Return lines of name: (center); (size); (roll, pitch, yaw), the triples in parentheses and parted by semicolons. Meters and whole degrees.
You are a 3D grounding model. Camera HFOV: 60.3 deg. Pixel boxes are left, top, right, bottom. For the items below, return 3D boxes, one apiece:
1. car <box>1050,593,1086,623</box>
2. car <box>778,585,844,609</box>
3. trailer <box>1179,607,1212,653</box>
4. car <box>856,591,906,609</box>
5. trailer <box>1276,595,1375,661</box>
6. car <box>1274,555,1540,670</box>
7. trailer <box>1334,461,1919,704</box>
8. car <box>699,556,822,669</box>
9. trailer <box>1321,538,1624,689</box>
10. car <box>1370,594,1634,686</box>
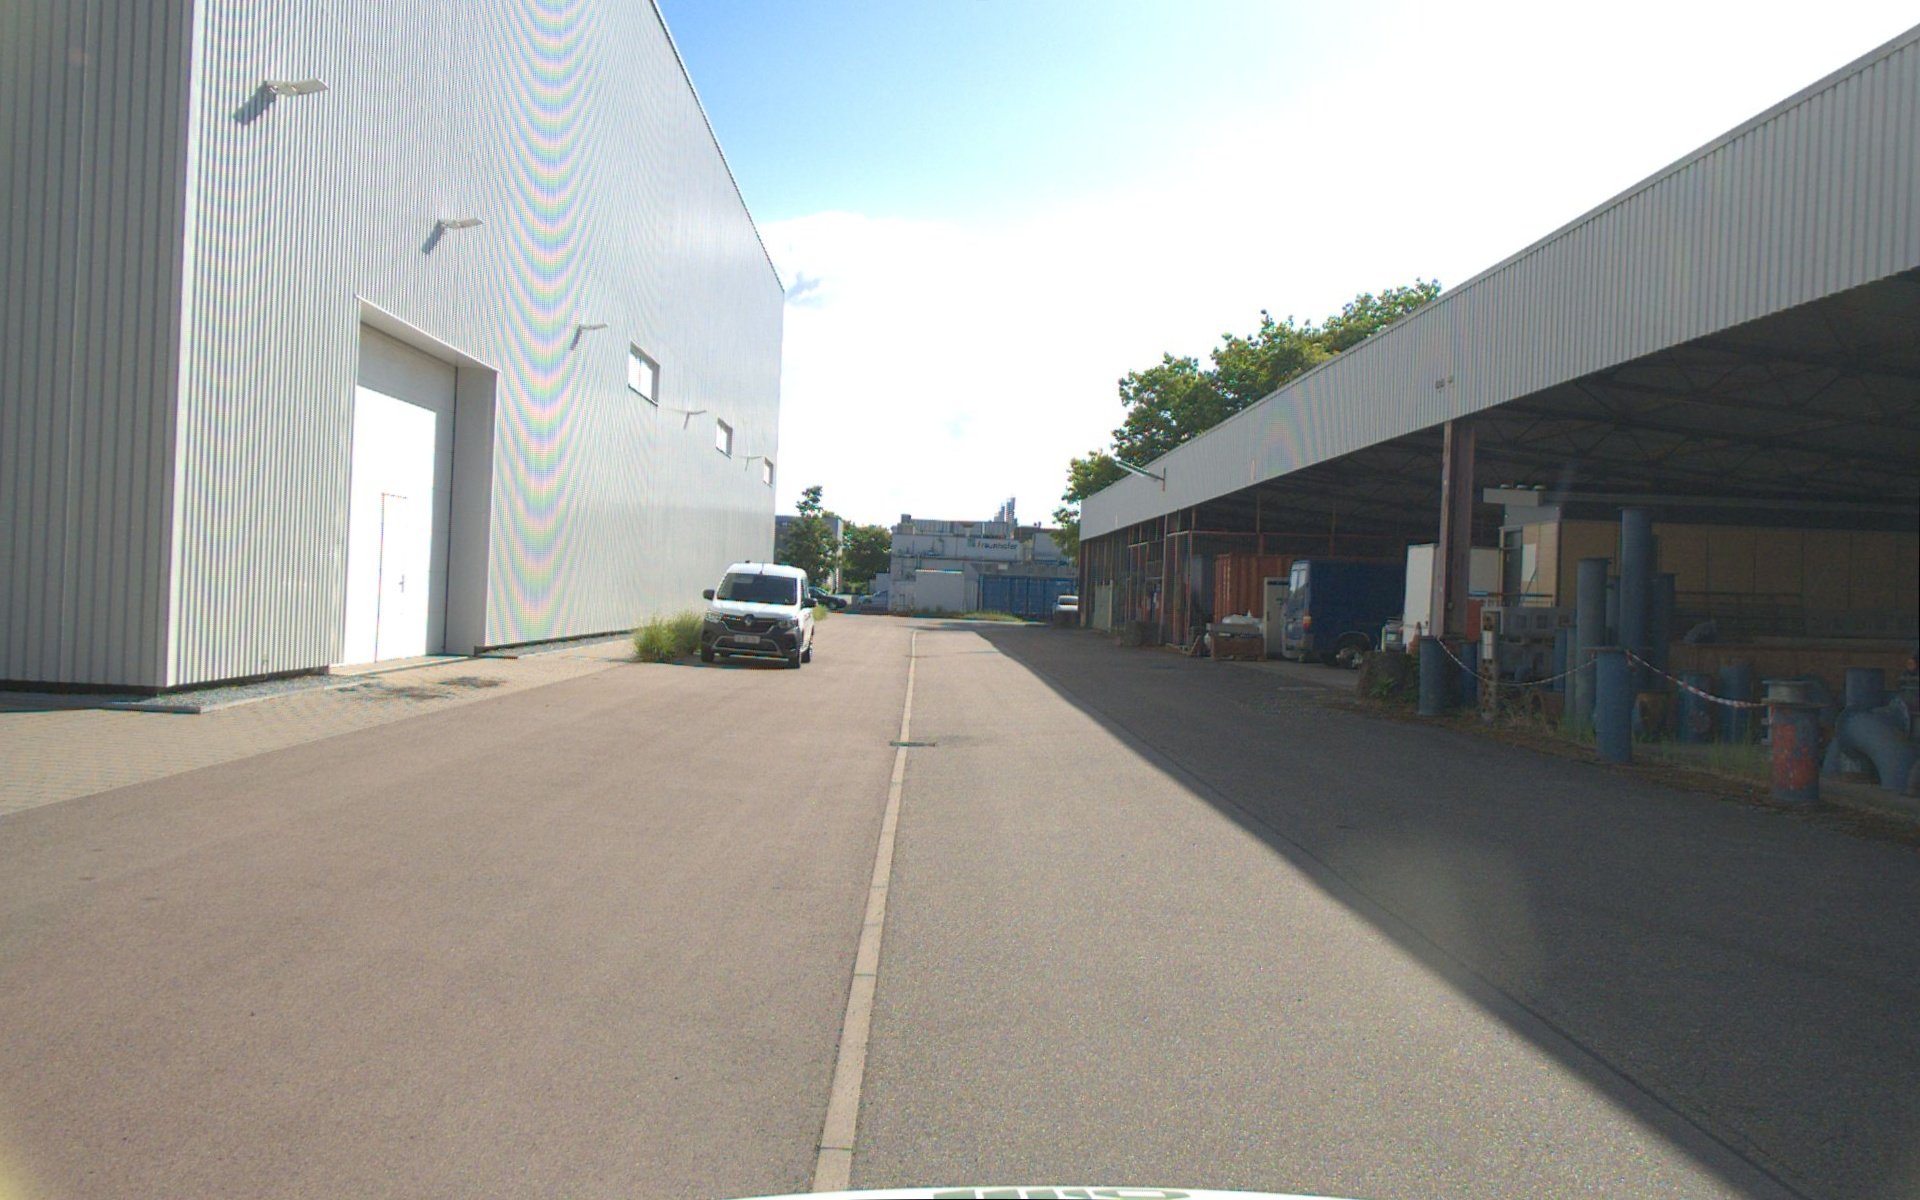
car: (6.545, 0.463, 100.658); (1.939, 1.630, 4.377); (1, 1, 0)
car: (-10.099, -0.177, 112.615); (4.358, 1.558, 1.823); (1, 0, -2)
trailer: (5.981, 0.754, 42.061); (0.541, 1.138, 1.546); (1, 0, -3)
car: (-6.682, -0.016, 140.618); (4.216, 1.483, 1.823); (1, 0, -2)
trailer: (8.600, 0.637, 39.030); (1.996, 1.492, 1.739); (1, 0, 2)
car: (9.775, 0.272, 36.452); (5.225, 2.321, 2.151); (2, 0, -2)
trailer: (11.057, -0.239, 25.196); (10.059, 3.401, 2.800); (1, 0, -1)
car: (-3.636, 0.223, 30.843); (1.748, 1.847, 4.600); (4, 0, -2)
trailer: (8.465, 0.220, 27.616); (4.424, 2.383, 2.047); (1, 0, -1)
car: (9.838, 0.709, 30.213); (4.165, 1.497, 1.868); (2, 0, -5)
